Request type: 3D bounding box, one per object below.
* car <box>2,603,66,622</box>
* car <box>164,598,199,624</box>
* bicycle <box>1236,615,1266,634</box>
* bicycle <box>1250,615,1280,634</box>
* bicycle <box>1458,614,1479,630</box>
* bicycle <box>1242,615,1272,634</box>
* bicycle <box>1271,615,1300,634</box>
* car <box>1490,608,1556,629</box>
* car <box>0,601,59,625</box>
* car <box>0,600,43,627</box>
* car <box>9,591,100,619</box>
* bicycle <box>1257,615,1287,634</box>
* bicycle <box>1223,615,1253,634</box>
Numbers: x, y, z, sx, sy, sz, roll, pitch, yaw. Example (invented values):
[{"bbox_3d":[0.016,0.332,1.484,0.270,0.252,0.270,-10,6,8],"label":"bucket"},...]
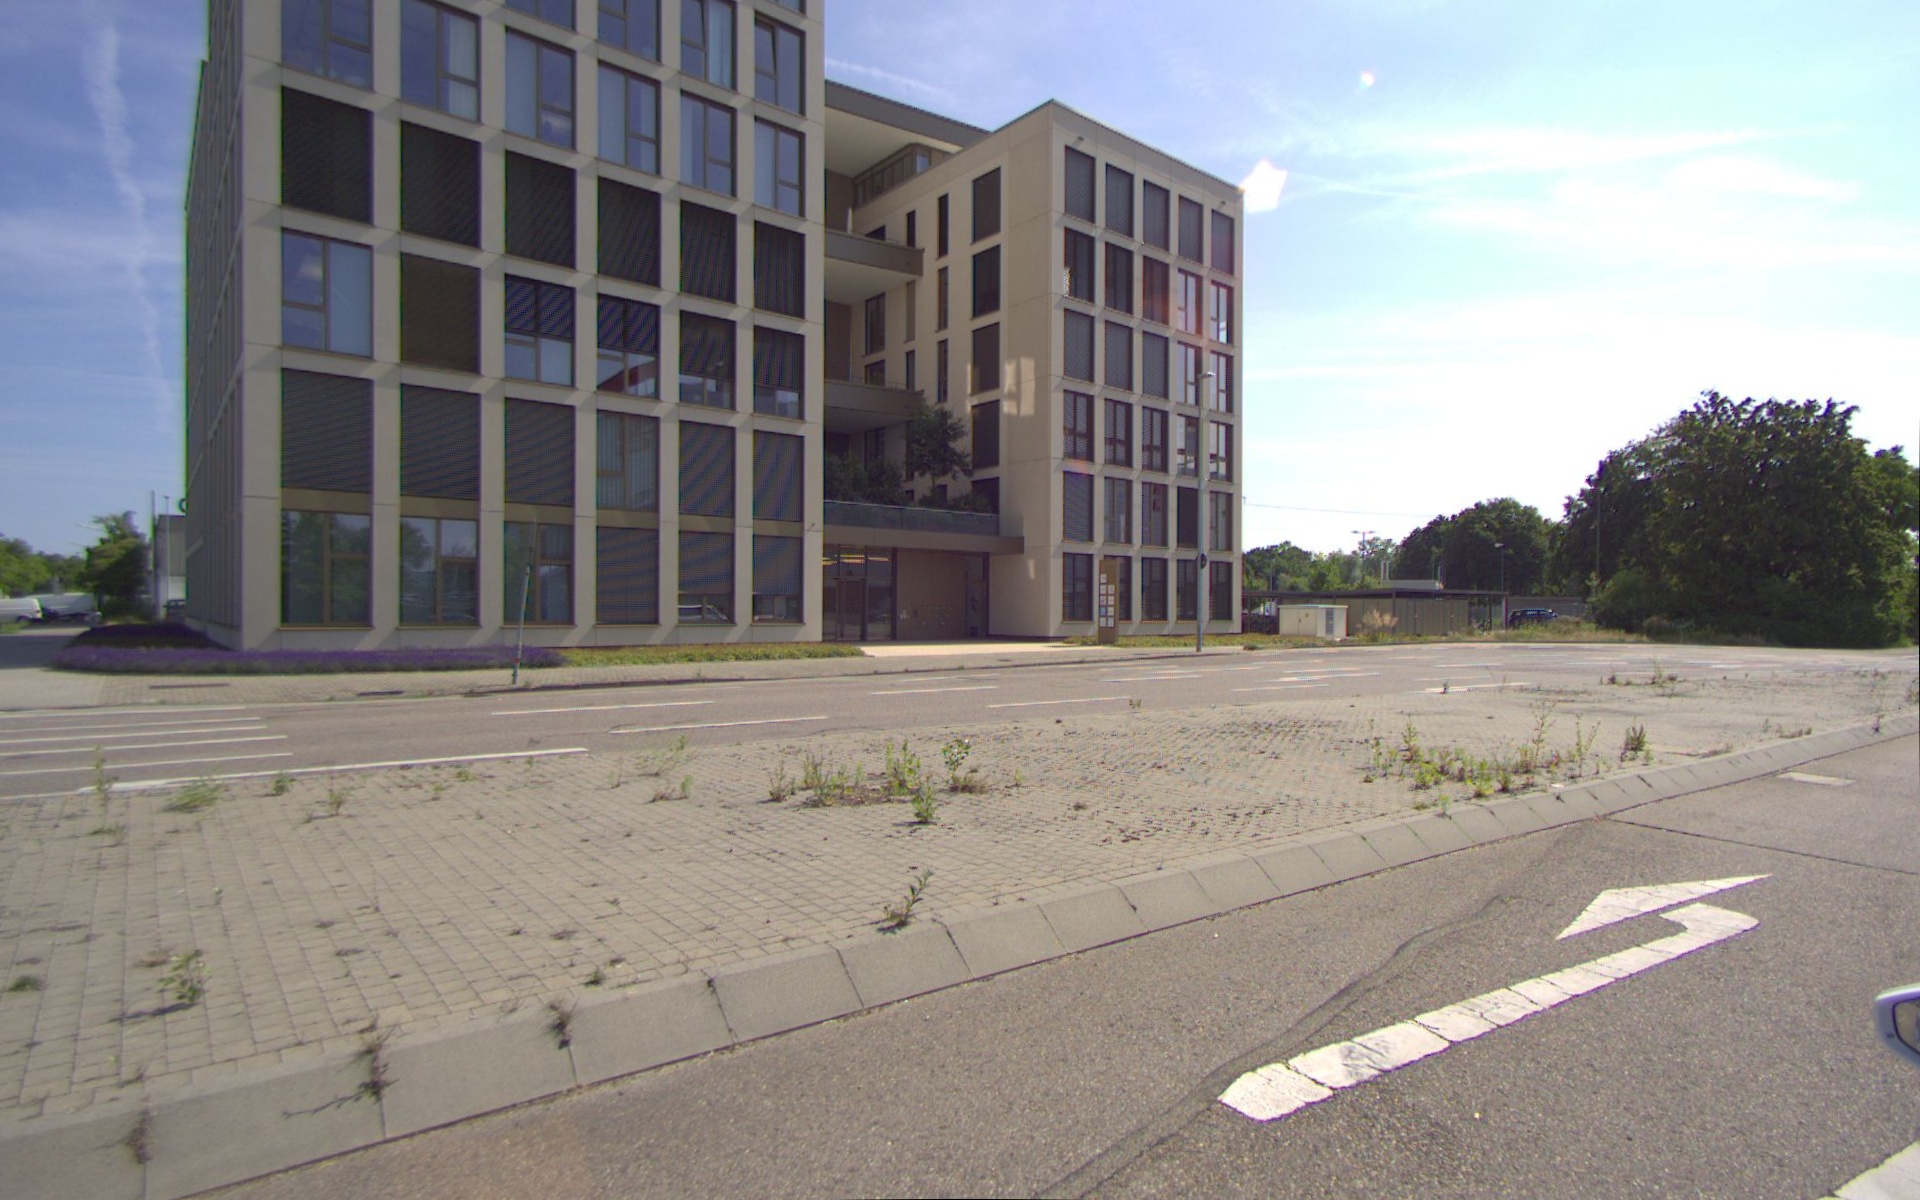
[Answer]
[{"bbox_3d":[-77.544,1.063,84.204,3.838,1.493,1.789,1,-1,-40],"label":"car"},{"bbox_3d":[-52.760,0.743,68.158,1.733,1.706,3.959,1,0,-36],"label":"car"},{"bbox_3d":[17.293,1.466,59.748,0.583,1.106,1.690,0,0,-38],"label":"bicycle"},{"bbox_3d":[18.409,1.479,60.653,0.583,1.106,1.690,0,0,-38],"label":"bicycle"},{"bbox_3d":[35.025,1.506,69.125,1.692,1.106,0.582,1,0,-36],"label":"bicycle"},{"bbox_3d":[17.789,1.468,60.148,0.583,1.106,1.690,0,0,-38],"label":"bicycle"},{"bbox_3d":[20.137,1.509,62.111,0.583,1.106,1.690,0,0,-38],"label":"bicycle"},{"bbox_3d":[40.242,1.308,71.870,4.041,1.439,1.724,1,-1,32],"label":"car"},{"bbox_3d":[-72.468,1.014,77.241,4.653,1.812,1.878,1,-1,-40],"label":"car"},{"bbox_3d":[-69.419,0.960,72.811,4.204,1.966,1.878,1,-1,-40],"label":"car"},{"bbox_3d":[-82.162,0.521,91.303,5.848,2.464,2.352,1,-1,-36],"label":"car"},{"bbox_3d":[18.952,1.494,61.073,0.583,1.106,1.690,0,0,-38],"label":"bicycle"},{"bbox_3d":[16.371,1.443,59.247,0.583,1.106,1.690,0,0,-38],"label":"bicycle"}]
